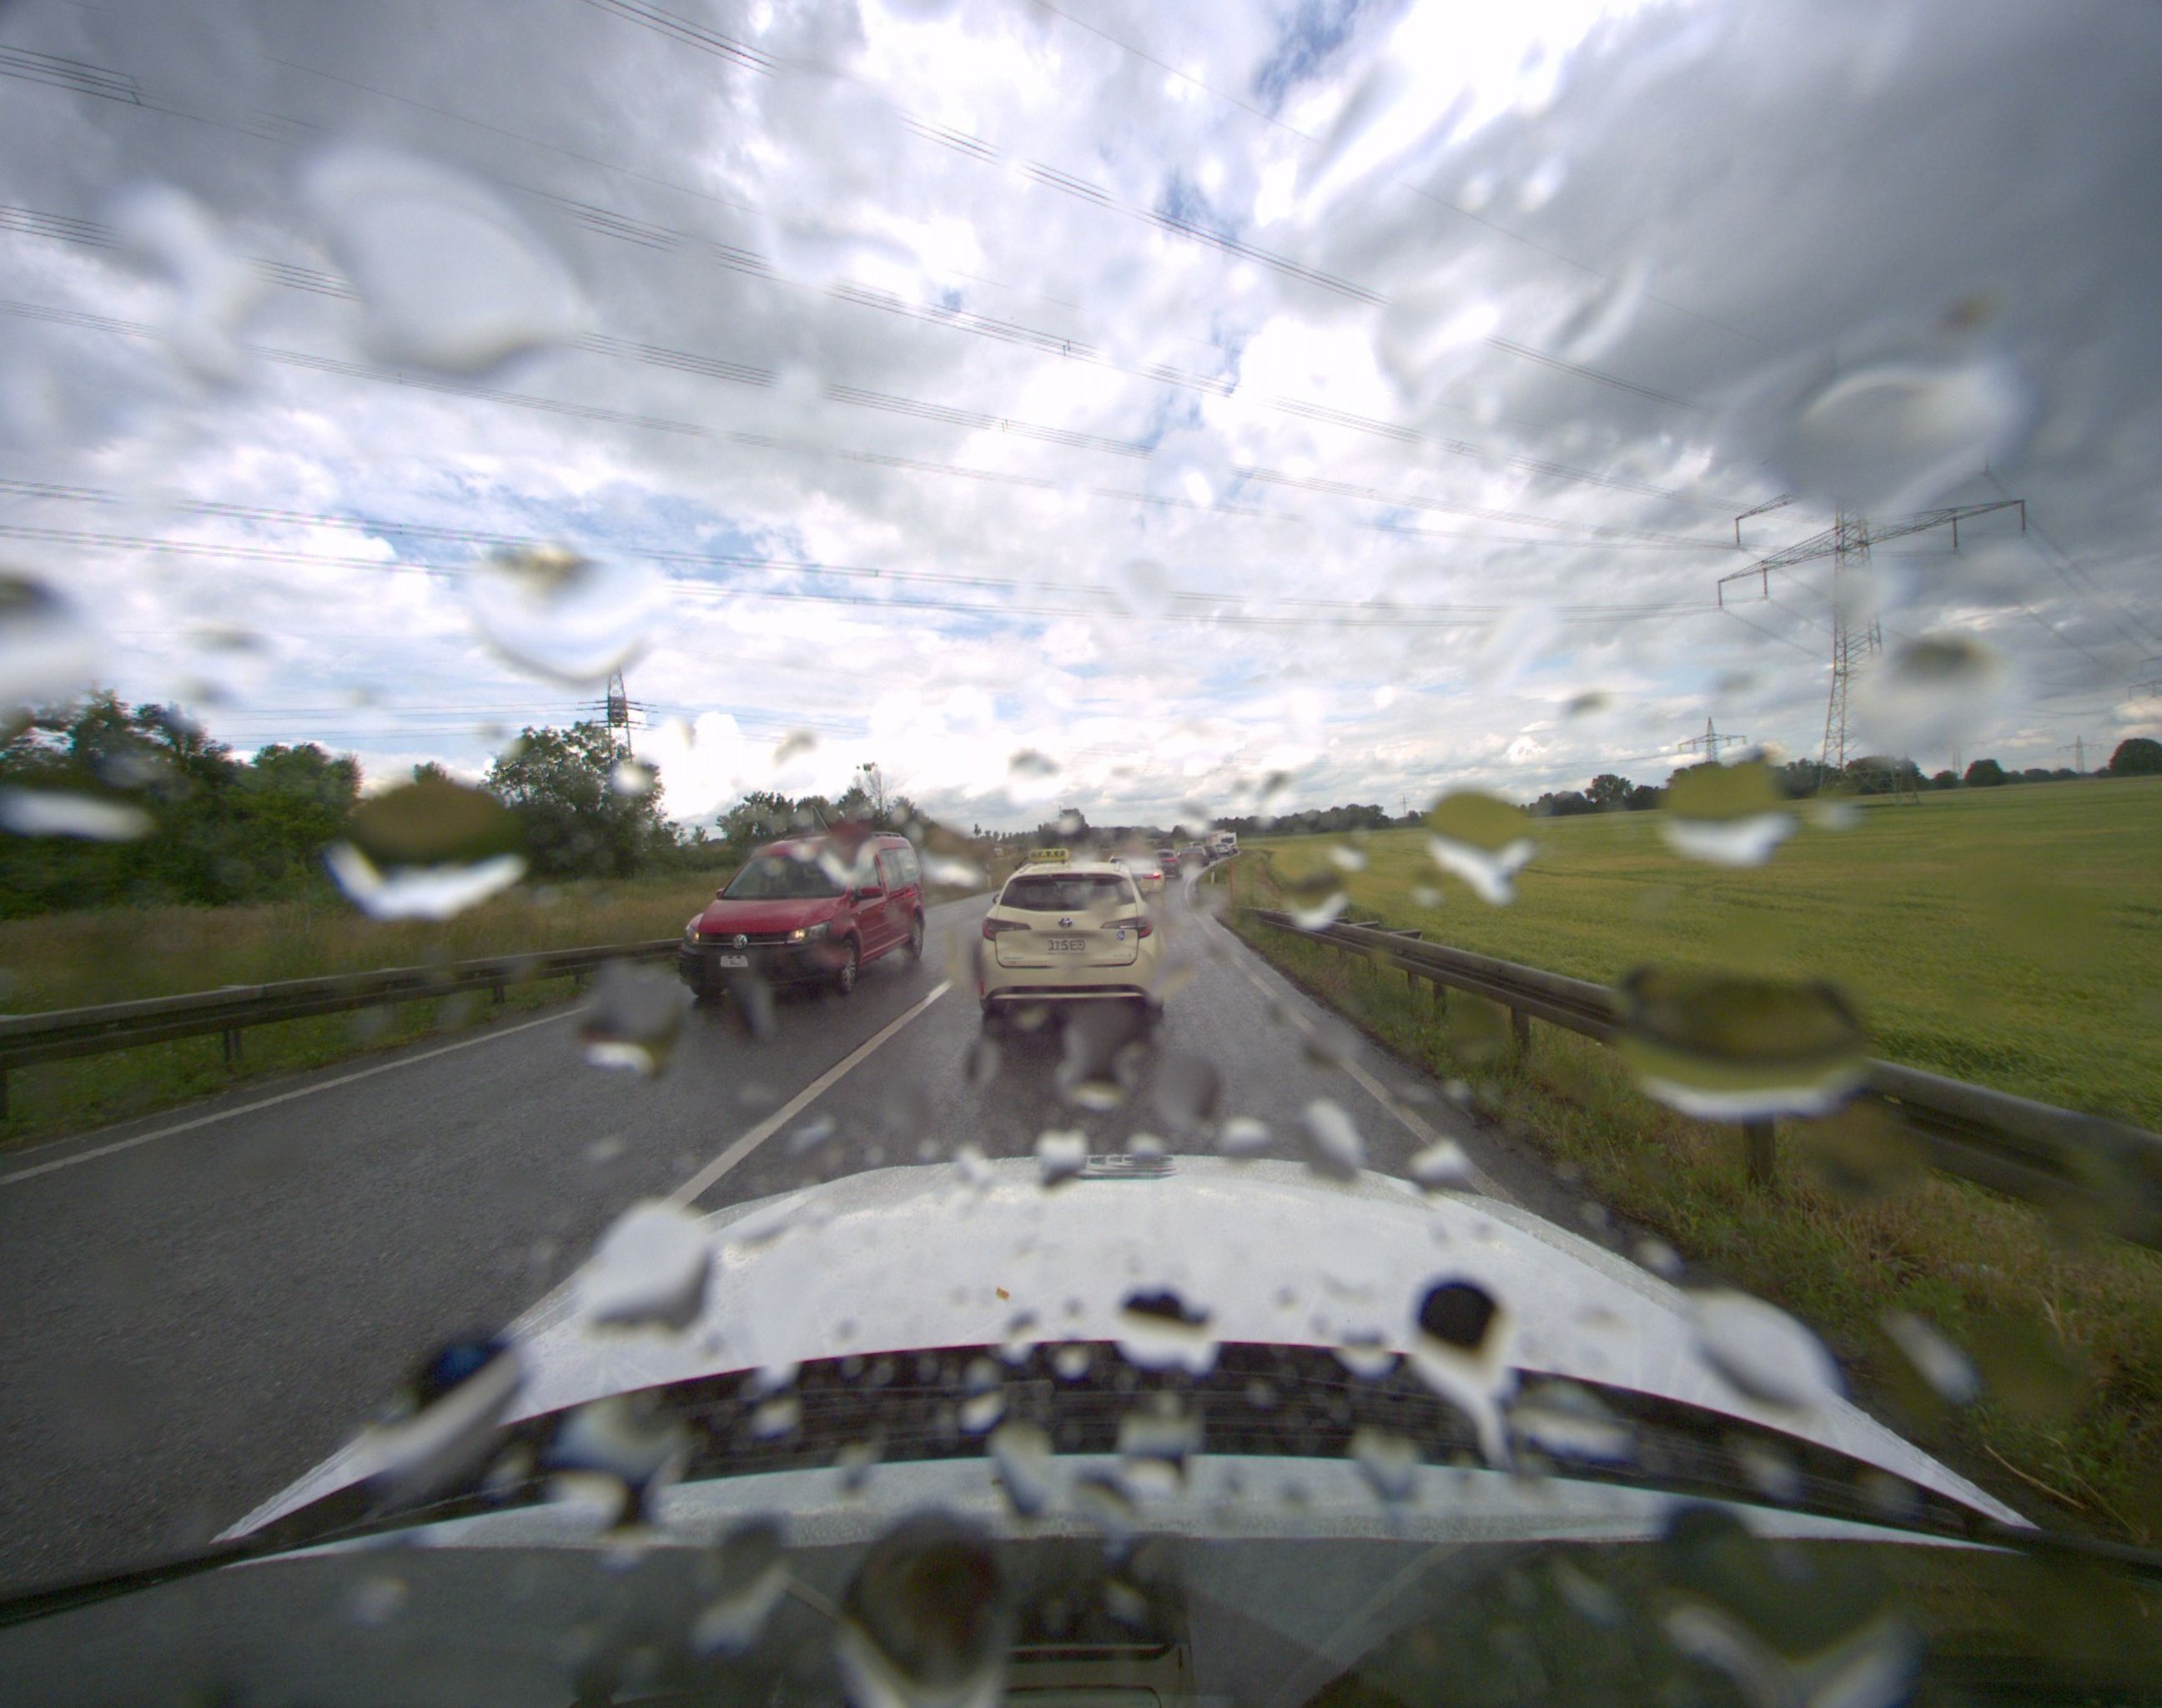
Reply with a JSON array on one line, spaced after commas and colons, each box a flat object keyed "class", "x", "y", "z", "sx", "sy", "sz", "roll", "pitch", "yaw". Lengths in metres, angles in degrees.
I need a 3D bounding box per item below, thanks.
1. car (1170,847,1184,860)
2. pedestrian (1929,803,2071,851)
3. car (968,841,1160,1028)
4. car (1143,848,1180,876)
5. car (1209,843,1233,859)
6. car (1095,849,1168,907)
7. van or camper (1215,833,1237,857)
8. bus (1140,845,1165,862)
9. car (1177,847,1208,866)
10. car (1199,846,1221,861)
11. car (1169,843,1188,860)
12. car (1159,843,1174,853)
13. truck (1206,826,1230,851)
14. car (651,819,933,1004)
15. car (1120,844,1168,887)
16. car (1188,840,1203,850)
[{"class": "car", "x": 15.742, "y": -0.040, "z": 133.576, "sx": 1.986, "sy": 2.014, "sz": 4.247, "roll": -1, "pitch": -1, "yaw": 2}, {"class": "pedestrian", "x": 42.359, "y": -1.188, "z": 37.685, "sx": 1.988, "sy": 2.014, "sz": 3.998, "roll": -1, "pitch": -1, "yaw": -1}, {"class": "car", "x": -0.130, "y": 0.699, "z": 8.771, "sx": 1.607, "sy": 1.562, "sz": 3.738, "roll": -1, "pitch": -1, "yaw": 0}, {"class": "car", "x": 4.270, "y": 0.409, "z": 42.780, "sx": 1.602, "sy": 1.413, "sz": 3.749, "roll": -1, "pitch": -1, "yaw": 10}, {"class": "car", "x": 15.360, "y": -0.298, "z": 89.198, "sx": 1.944, "sy": 1.729, "sz": 3.756, "roll": -1, "pitch": -1, "yaw": 18}, {"class": "car", "x": 1.601, "y": 0.632, "z": 24.152, "sx": 1.831, "sy": 1.492, "sz": 4.618, "roll": -1, "pitch": 1, "yaw": 7}, {"class": "van or camper", "x": 18.557, "y": -1.202, "z": 103.767, "sx": 2.520, "sy": 2.896, "sz": 6.764, "roll": -1, "pitch": 0, "yaw": 11}, {"class": "bus", "x": 14.336, "y": -0.113, "z": 164.728, "sx": 2.755, "sy": 3.297, "sz": 12.475, "roll": -1, "pitch": 0, "yaw": -6}, {"class": "car", "x": 8.631, "y": 0.200, "z": 62.676, "sx": 1.946, "sy": 1.413, "sz": 4.407, "roll": -1, "pitch": -1, "yaw": 12}, {"class": "car", "x": 12.463, "y": -0.042, "z": 78.650, "sx": 1.813, "sy": 1.413, "sz": 3.751, "roll": -1, "pitch": -1, "yaw": 13}, {"class": "car", "x": 11.212, "y": -0.267, "z": 93.119, "sx": 1.895, "sy": 1.948, "sz": 4.154, "roll": -1, "pitch": -1, "yaw": 10}, {"class": "car", "x": 17.601, "y": -1.240, "z": 167.868, "sx": 1.742, "sy": 2.014, "sz": 4.127, "roll": 0, "pitch": -1, "yaw": -14}, {"class": "truck", "x": 21.995, "y": -2.421, "z": 131.406, "sx": 3.112, "sy": 3.852, "sz": 7.394, "roll": -1, "pitch": -1, "yaw": 4}, {"class": "car", "x": -3.390, "y": 0.589, "z": 10.637, "sx": 1.794, "sy": 1.850, "sz": 4.524, "roll": -2, "pitch": 0, "yaw": 3}, {"class": "car", "x": 2.659, "y": 0.457, "z": 33.664, "sx": 1.603, "sy": 1.659, "sz": 3.748, "roll": -1, "pitch": -1, "yaw": 10}, {"class": "car", "x": 21.095, "y": -1.623, "z": 150.721, "sx": 1.880, "sy": 1.773, "sz": 4.153, "roll": -1, "pitch": -1, "yaw": -5}]
